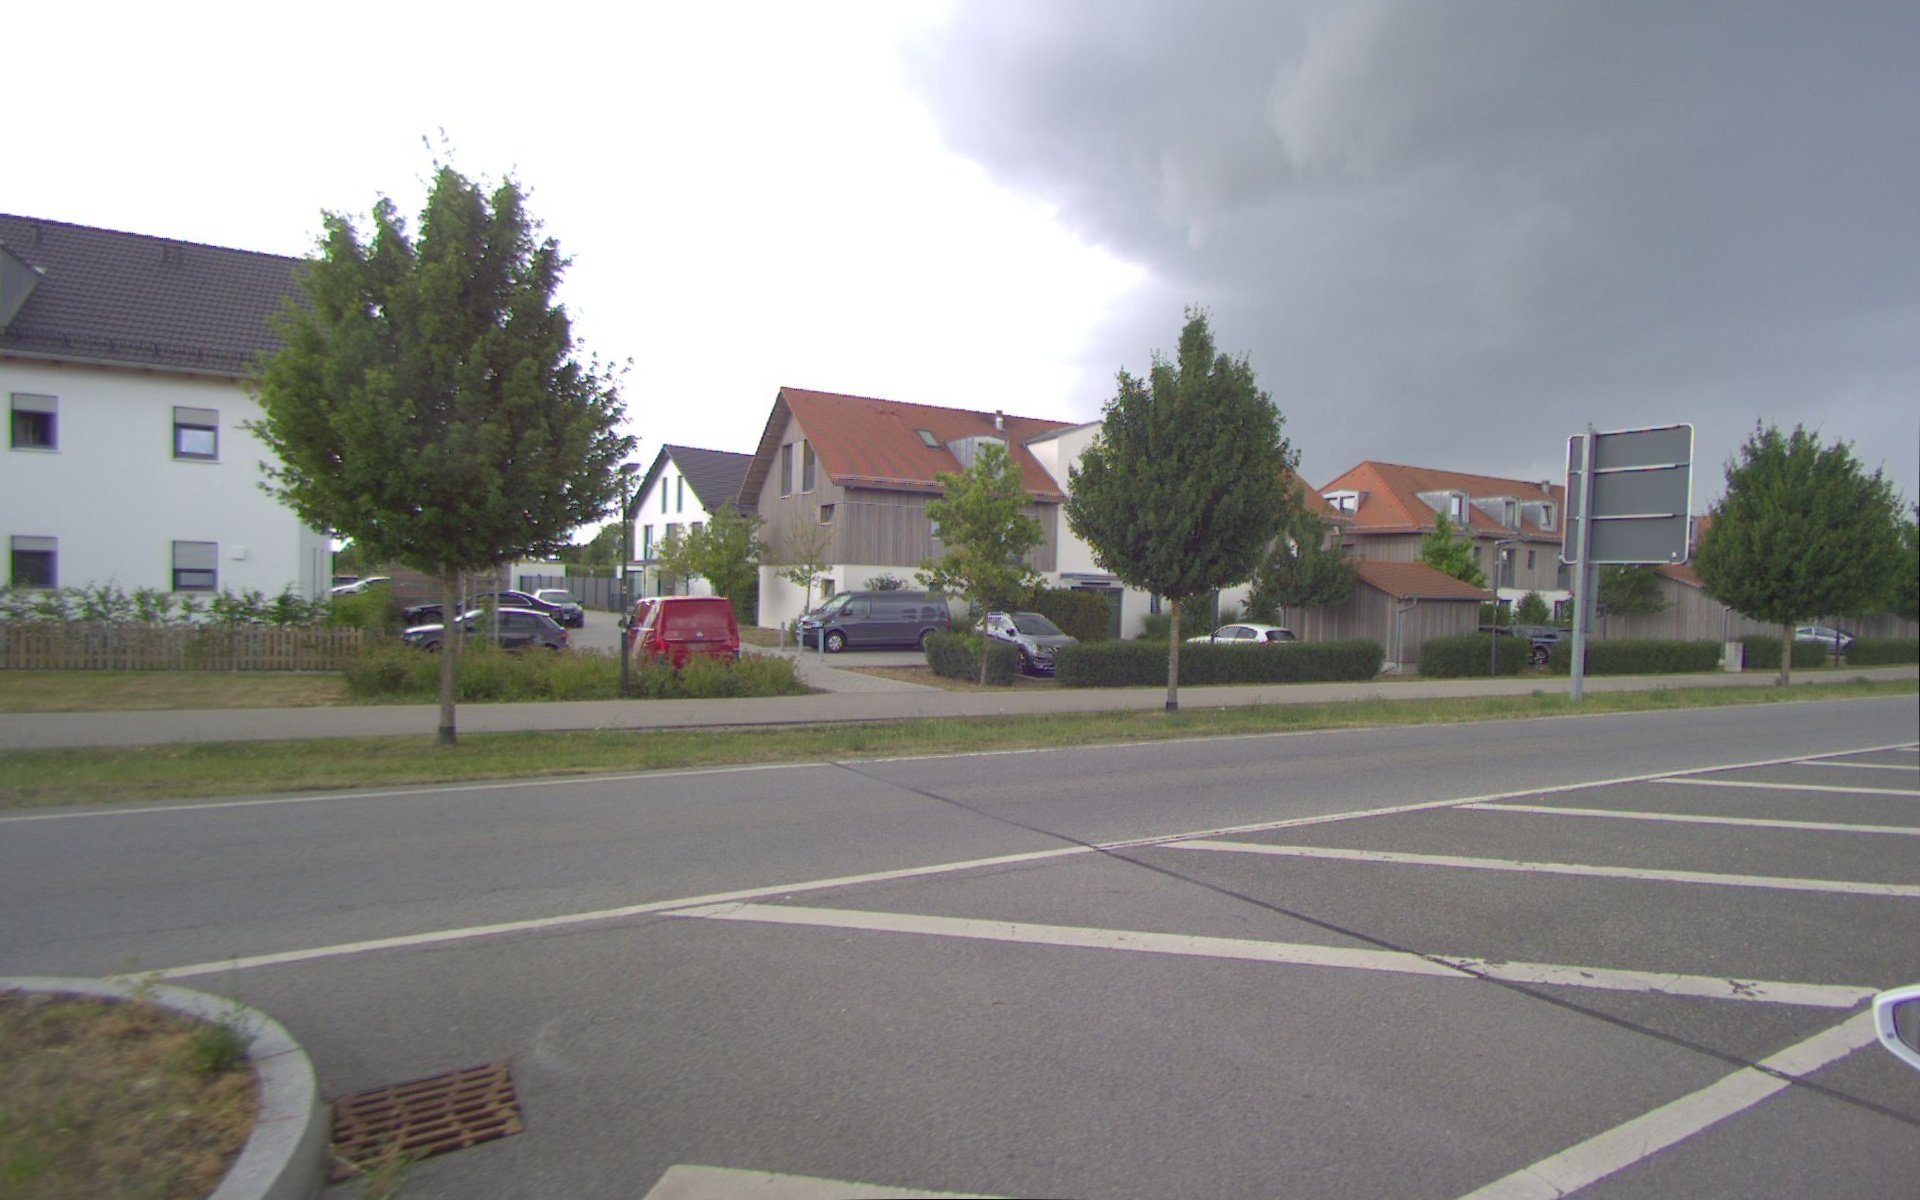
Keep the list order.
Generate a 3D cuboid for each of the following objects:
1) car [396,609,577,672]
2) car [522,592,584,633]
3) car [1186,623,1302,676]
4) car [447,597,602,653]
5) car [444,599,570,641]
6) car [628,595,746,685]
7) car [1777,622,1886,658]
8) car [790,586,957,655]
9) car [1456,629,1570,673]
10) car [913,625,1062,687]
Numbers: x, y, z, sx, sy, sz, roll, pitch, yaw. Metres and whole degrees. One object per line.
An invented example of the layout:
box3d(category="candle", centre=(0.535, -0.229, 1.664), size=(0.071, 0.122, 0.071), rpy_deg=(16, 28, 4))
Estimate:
box3d(category="car", centre=(-11.801, 0.977, 25.097), size=(3.953, 1.439, 1.866), rpy_deg=(1, -1, -30))
box3d(category="car", centre=(-16.709, 0.510, 41.158), size=(1.975, 1.607, 3.971), rpy_deg=(1, -1, -28))
box3d(category="car", centre=(8.970, 1.531, 31.948), size=(1.545, 1.509, 3.498), rpy_deg=(1, -1, -30))
box3d(category="car", centre=(-12.655, 0.725, 29.215), size=(3.953, 1.528, 1.984), rpy_deg=(1, -1, -30))
box3d(category="car", centre=(-16.280, 0.728, 36.125), size=(3.953, 1.439, 1.866), rpy_deg=(1, -1, -30))
box3d(category="car", centre=(-6.414, 0.852, 23.194), size=(1.880, 1.840, 4.892), rpy_deg=(1, -1, -24))
box3d(category="car", centre=(46.995, 2.120, 54.253), size=(1.975, 1.577, 3.970), rpy_deg=(1, 2, -28))
box3d(category="car", centre=(-2.876, 0.673, 33.627), size=(5.134, 2.041, 1.985), rpy_deg=(1, 4, -28))
box3d(category="car", centre=(20.894, 1.877, 38.051), size=(1.545, 1.509, 3.498), rpy_deg=(1, -1, -30))
box3d(category="car", centre=(0.629, 1.458, 27.546), size=(1.883, 1.449, 4.885), rpy_deg=(1, -1, -28))
